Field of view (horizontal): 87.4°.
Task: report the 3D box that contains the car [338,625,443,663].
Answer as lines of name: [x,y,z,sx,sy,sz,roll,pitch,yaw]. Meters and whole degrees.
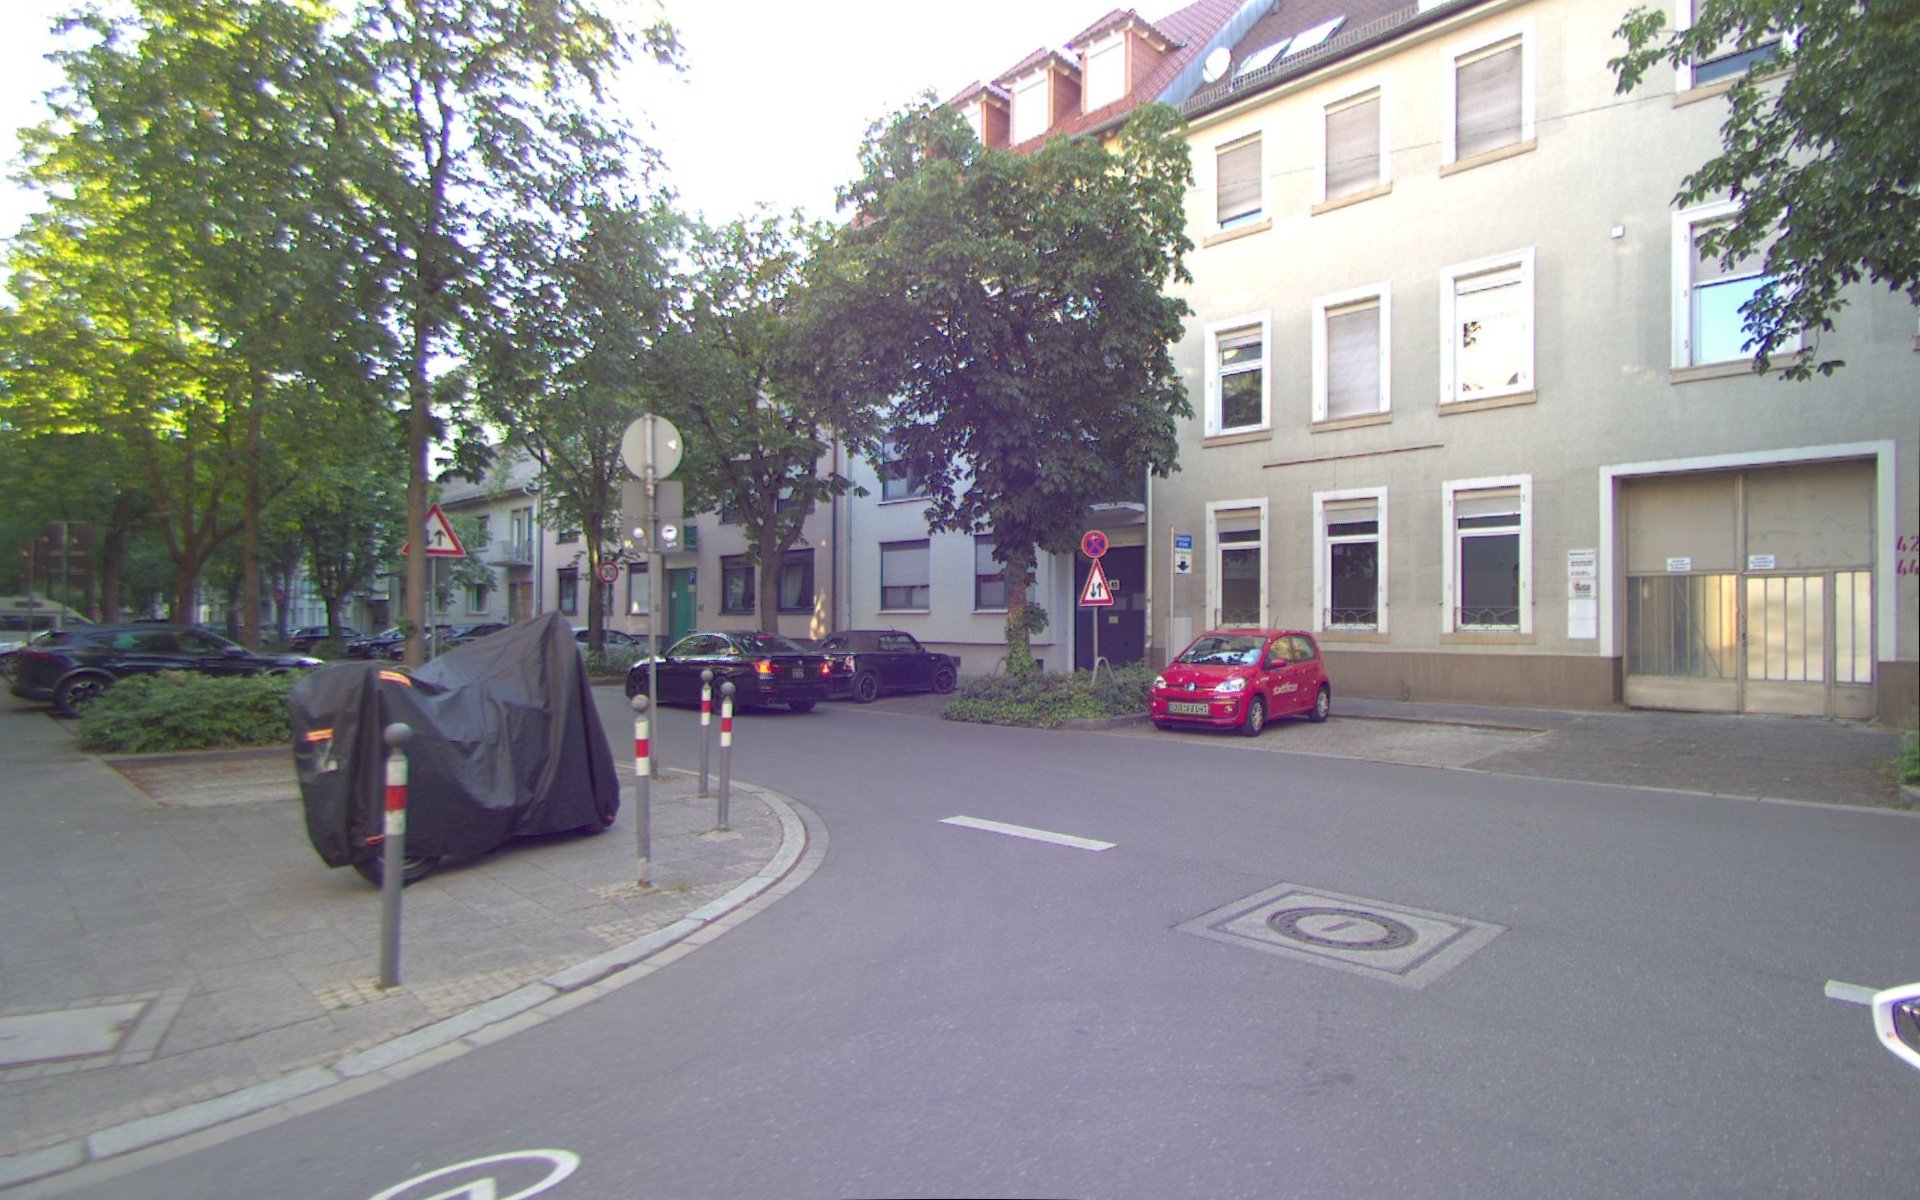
car: [-24.999,1.888,44.173,1.543,1.550,3.783,-1,-1,42]

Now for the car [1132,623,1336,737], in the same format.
car: [4.284,1.118,15.381,1.543,1.495,3.647,-1,-1,42]

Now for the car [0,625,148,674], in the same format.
car: [-28.481,1.554,31.790,1.618,1.491,4.121,-1,-3,44]

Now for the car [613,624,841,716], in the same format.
car: [-4.360,1.184,18.385,4.600,1.469,1.759,-1,-2,42]

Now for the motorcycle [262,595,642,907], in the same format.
motorcycle: [-2.969,0.787,6.196,0.656,1.576,2.161,0,-1,24]

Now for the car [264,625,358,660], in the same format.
car: [-32.117,2.072,49.775,1.543,1.557,3.648,-1,0,42]

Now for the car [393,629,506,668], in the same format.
car: [-19.966,1.860,39.355,1.543,1.411,3.648,-1,-1,42]

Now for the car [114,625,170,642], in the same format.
car: [-72.016,2.923,88.414,1.543,1.411,3.649,-1,-1,42]

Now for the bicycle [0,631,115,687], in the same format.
bicycle: [-20.622,1.328,22.916,0.493,1.215,1.971,-1,-2,33]

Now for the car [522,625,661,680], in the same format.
car: [-10.967,1.515,30.061,1.543,1.498,3.648,-1,-1,42]

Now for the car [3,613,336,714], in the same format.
car: [-13.628,1.063,17.513,1.810,1.529,4.345,-1,-3,44]

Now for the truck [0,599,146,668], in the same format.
truck: [-34.011,1.263,37.843,4.984,2.473,1.890,3,-2,-45]

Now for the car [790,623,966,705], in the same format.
car: [-1.667,1.279,21.441,1.603,1.447,3.697,-1,1,39]

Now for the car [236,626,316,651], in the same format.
car: [-40.521,2.279,59.569,1.543,1.411,3.649,-1,-1,42]
